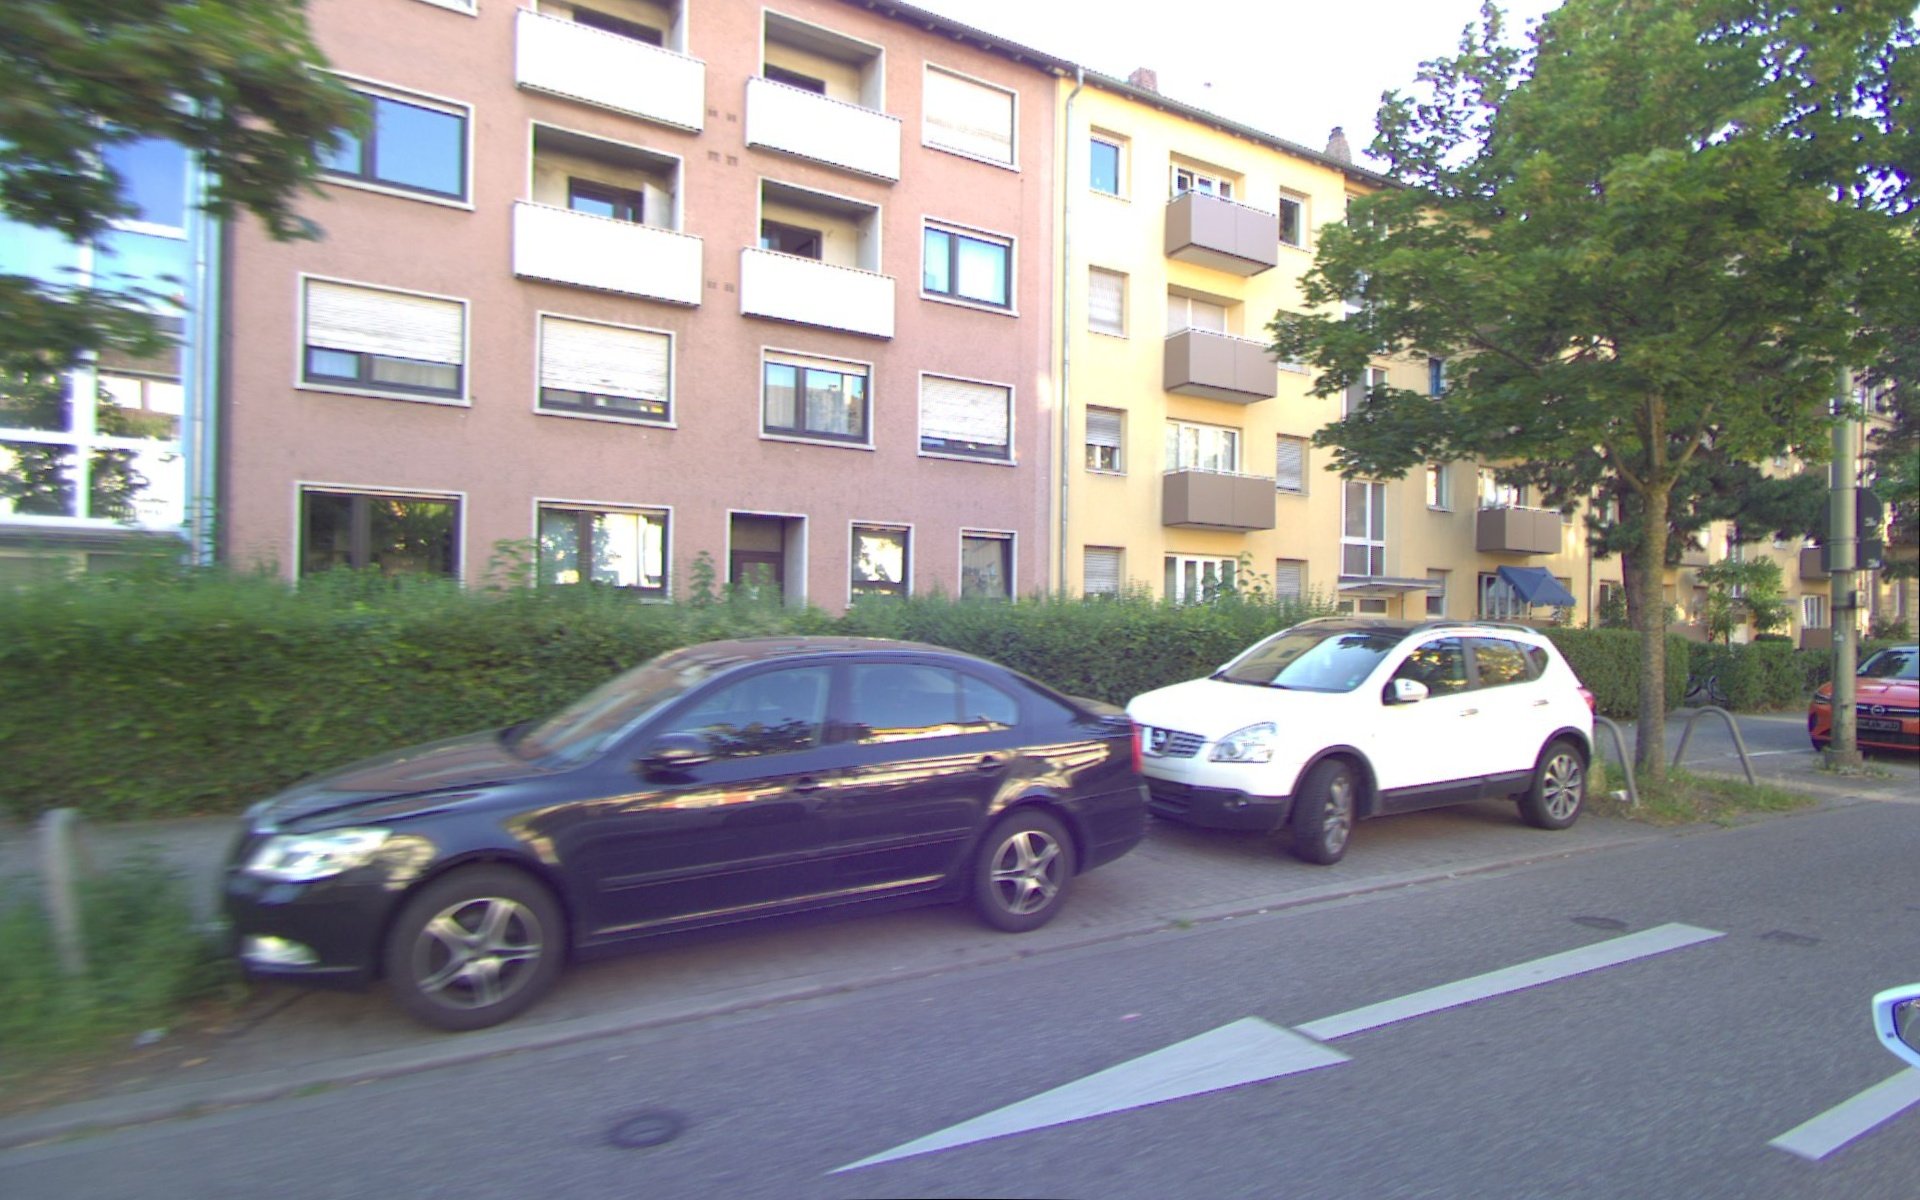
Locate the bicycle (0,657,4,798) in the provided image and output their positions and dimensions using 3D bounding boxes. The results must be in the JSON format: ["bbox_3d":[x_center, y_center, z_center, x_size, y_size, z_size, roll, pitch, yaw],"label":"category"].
[{"bbox_3d":[-7.967,0.959,7.252,0.526,1.064,1.473,-1,-2,39],"label":"bicycle"}]

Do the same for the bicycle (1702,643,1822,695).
[{"bbox_3d":[17.194,1.460,21.582,0.575,0.938,1.928,1,1,-27],"label":"bicycle"}]

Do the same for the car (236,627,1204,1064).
[{"bbox_3d":[-1.017,0.898,5.377,4.406,1.467,1.984,1,-2,-30],"label":"car"}]

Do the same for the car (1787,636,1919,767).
[{"bbox_3d":[12.714,1.244,13.114,3.876,1.471,1.709,1,0,-30],"label":"car"}]

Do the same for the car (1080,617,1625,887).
[{"bbox_3d":[3.138,0.969,7.862,4.135,1.609,1.769,1,-1,-29],"label":"car"}]

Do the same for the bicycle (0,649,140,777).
[{"bbox_3d":[-8.246,0.984,8.867,0.526,1.064,1.473,-1,-2,38],"label":"bicycle"}]
